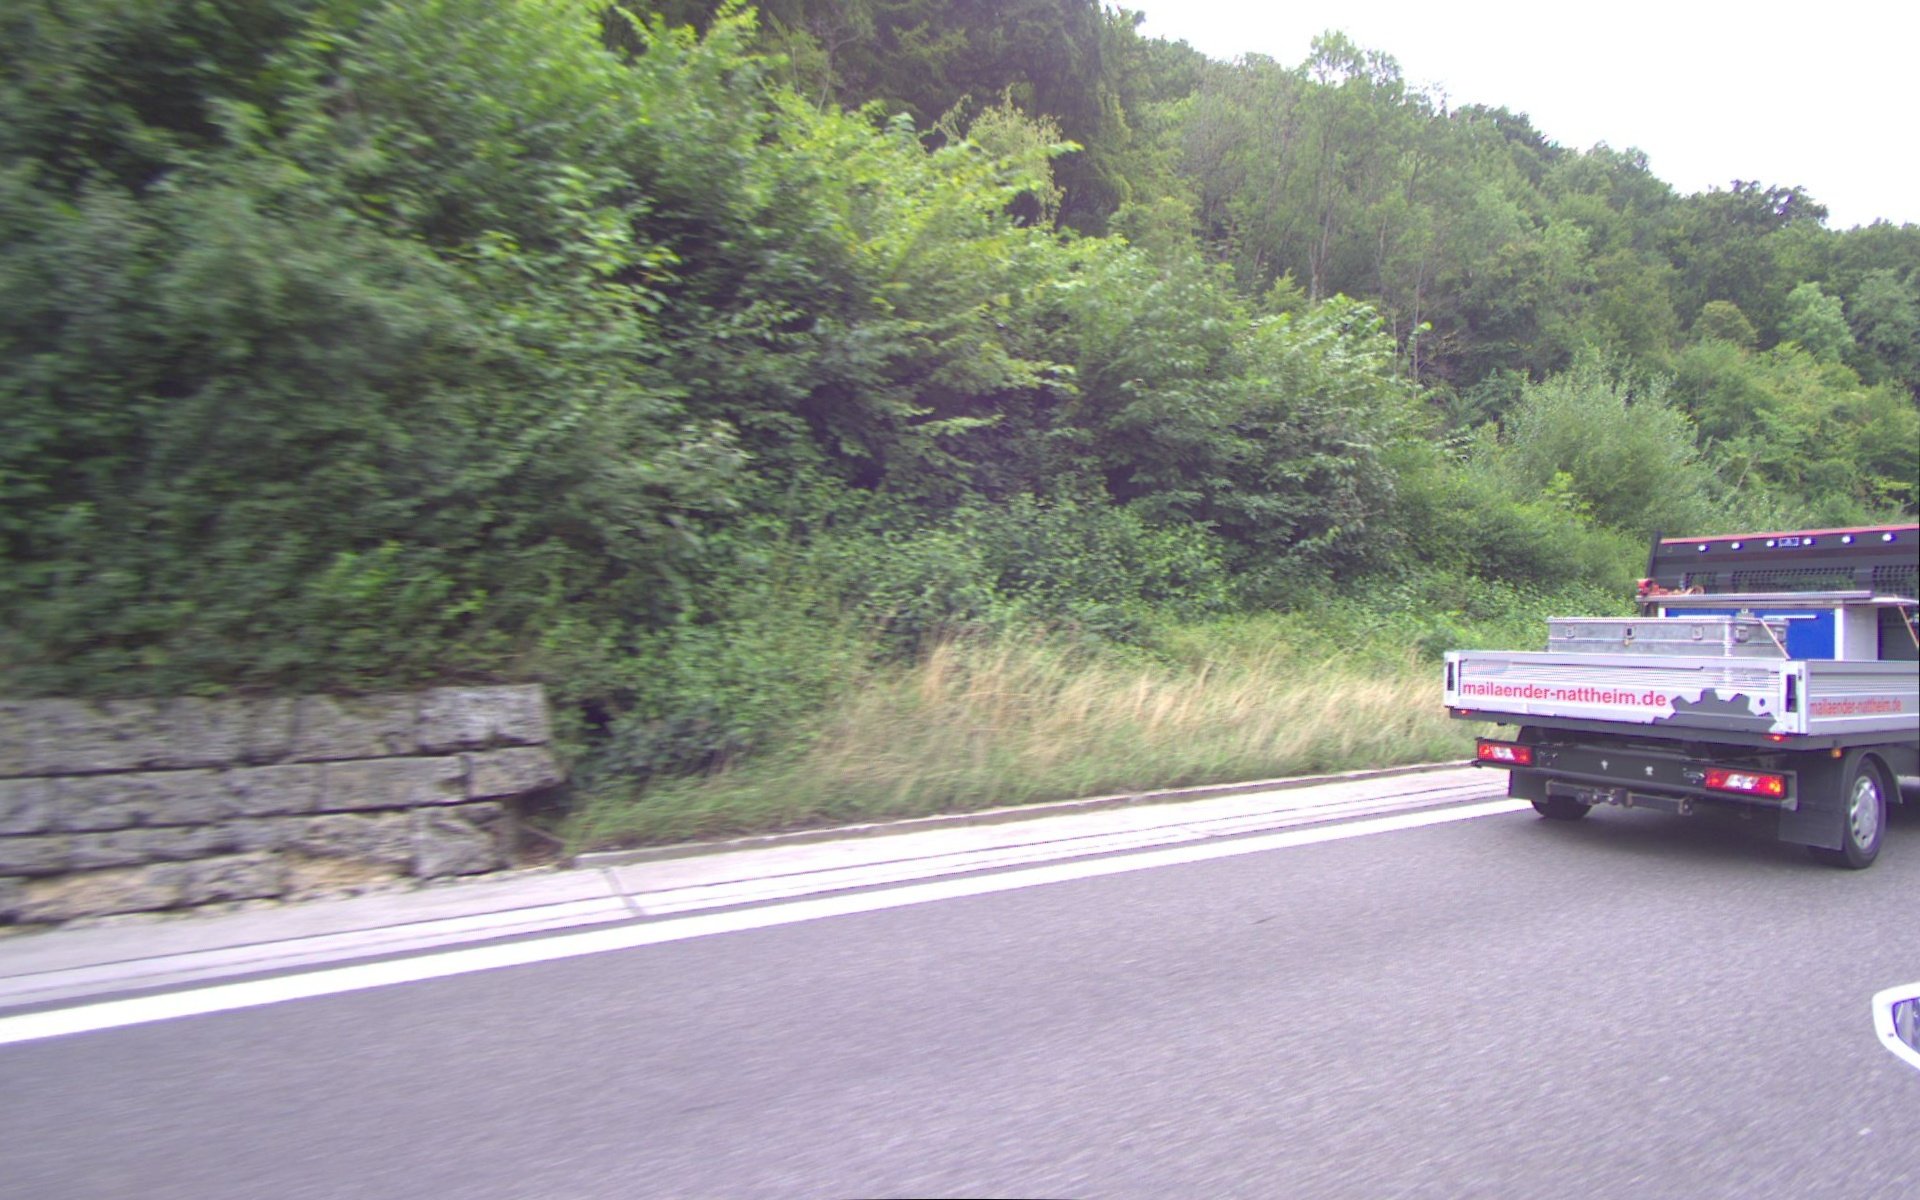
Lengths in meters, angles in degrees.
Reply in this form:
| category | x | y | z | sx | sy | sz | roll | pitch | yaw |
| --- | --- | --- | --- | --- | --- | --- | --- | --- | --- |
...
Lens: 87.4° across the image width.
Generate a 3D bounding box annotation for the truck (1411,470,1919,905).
| category | x | y | z | sx | sy | sz | roll | pitch | yaw |
| --- | --- | --- | --- | --- | --- | --- | --- | --- | --- |
| truck | 6.745 | 0.558 | 8.150 | 6.775 | 2.304 | 2.336 | 1 | -2 | -33 |
